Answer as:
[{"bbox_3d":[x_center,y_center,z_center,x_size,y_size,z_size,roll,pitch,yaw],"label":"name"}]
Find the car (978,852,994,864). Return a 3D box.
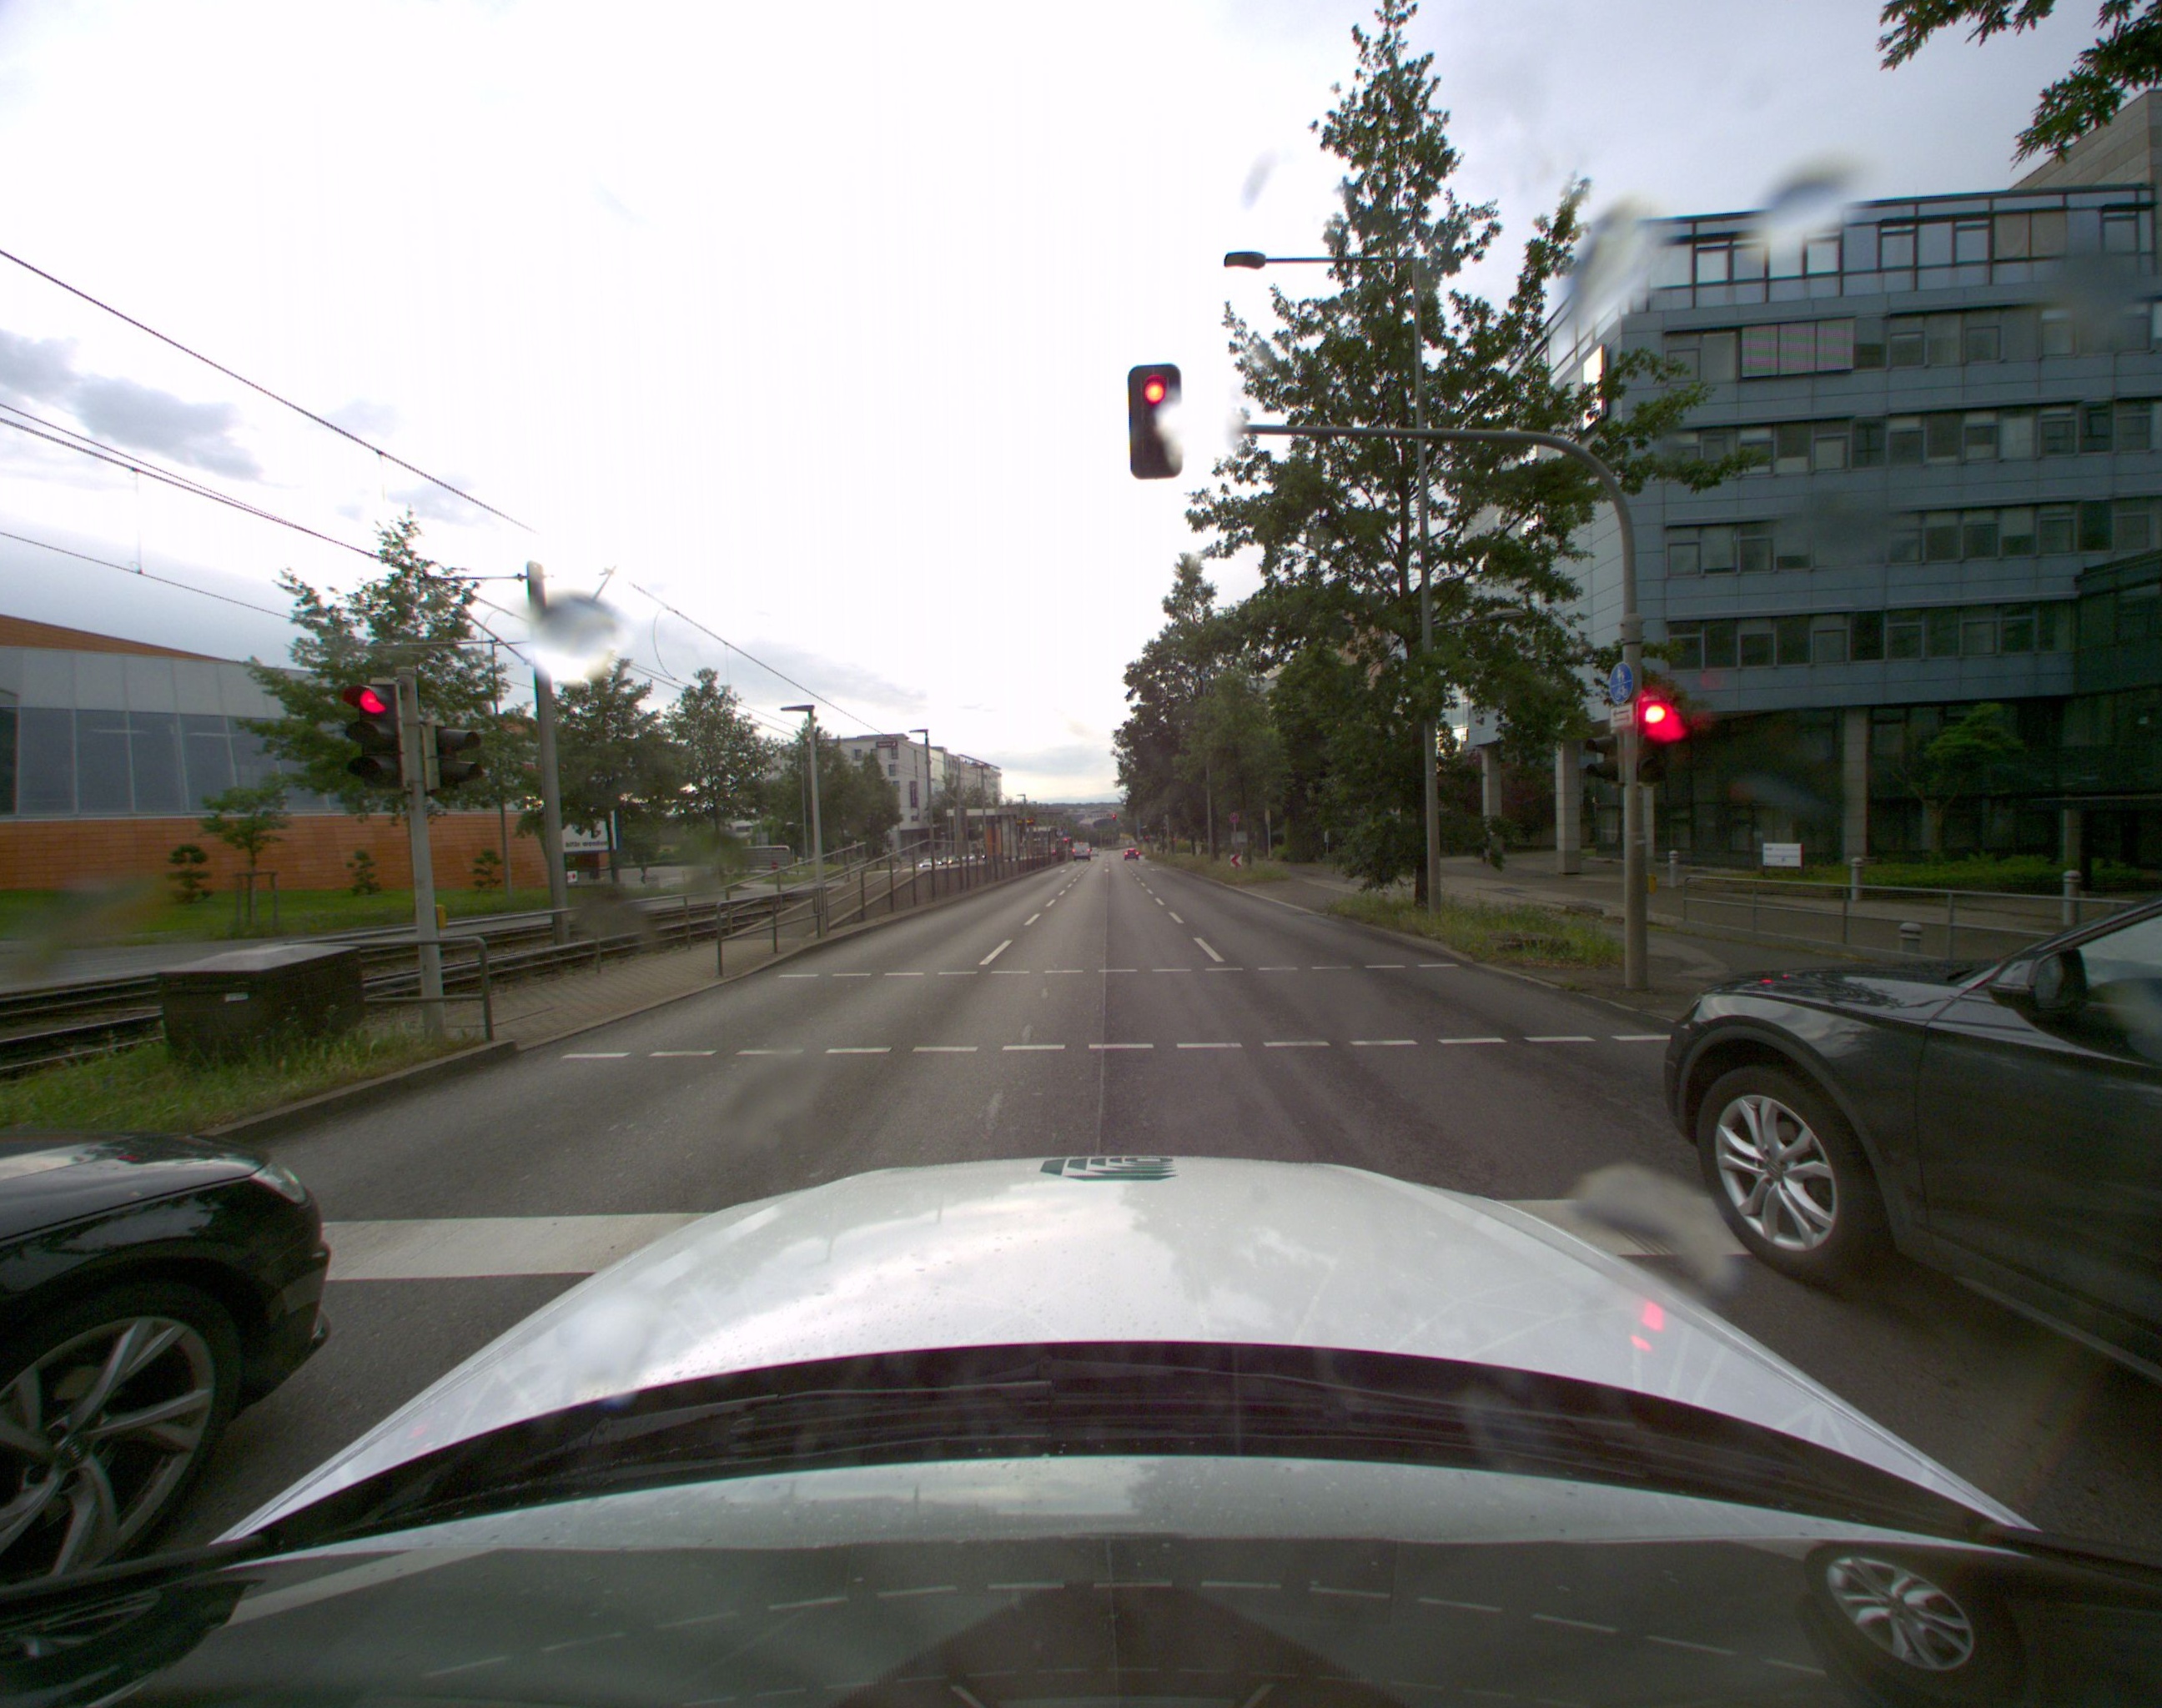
[{"bbox_3d":[-12.405,0.573,106.006,1.651,1.436,3.865,-4,0,-11],"label":"car"}]

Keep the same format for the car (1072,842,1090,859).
[{"bbox_3d":[-0.022,-0.455,102.670,2.085,2.053,4.608,-1,0,2],"label":"car"}]

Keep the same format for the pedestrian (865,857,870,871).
[{"bbox_3d":[-29.120,1.327,111.006,0.473,1.920,0.490,-1,0,1],"label":"pedestrian"}]

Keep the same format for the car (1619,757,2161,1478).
[{"bbox_3d":[3.300,0.574,1.448,1.811,1.612,4.472,-1,0,2],"label":"car"}]

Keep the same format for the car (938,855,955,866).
[{"bbox_3d":[-17.562,0.804,106.282,1.562,1.378,3.518,-2,0,0],"label":"car"}]

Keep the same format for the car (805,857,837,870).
[{"bbox_3d":[-30.931,1.133,96.895,3.341,1.387,1.440,-1,0,18],"label":"car"}]

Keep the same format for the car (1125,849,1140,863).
[{"bbox_3d":[6.515,0.201,102.838,1.767,1.691,3.847,-1,0,2],"label":"car"}]

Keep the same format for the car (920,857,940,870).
[{"bbox_3d":[-17.879,1.143,96.635,1.646,1.436,3.877,-4,0,-2],"label":"car"}]

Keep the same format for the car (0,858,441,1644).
[{"bbox_3d":[-2.967,0.775,0.300,1.774,1.466,4.515,-1,0,2],"label":"car"}]

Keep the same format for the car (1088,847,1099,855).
[{"bbox_3d":[2.237,-0.551,145.833,1.777,1.390,3.999,-2,0,0],"label":"car"}]
